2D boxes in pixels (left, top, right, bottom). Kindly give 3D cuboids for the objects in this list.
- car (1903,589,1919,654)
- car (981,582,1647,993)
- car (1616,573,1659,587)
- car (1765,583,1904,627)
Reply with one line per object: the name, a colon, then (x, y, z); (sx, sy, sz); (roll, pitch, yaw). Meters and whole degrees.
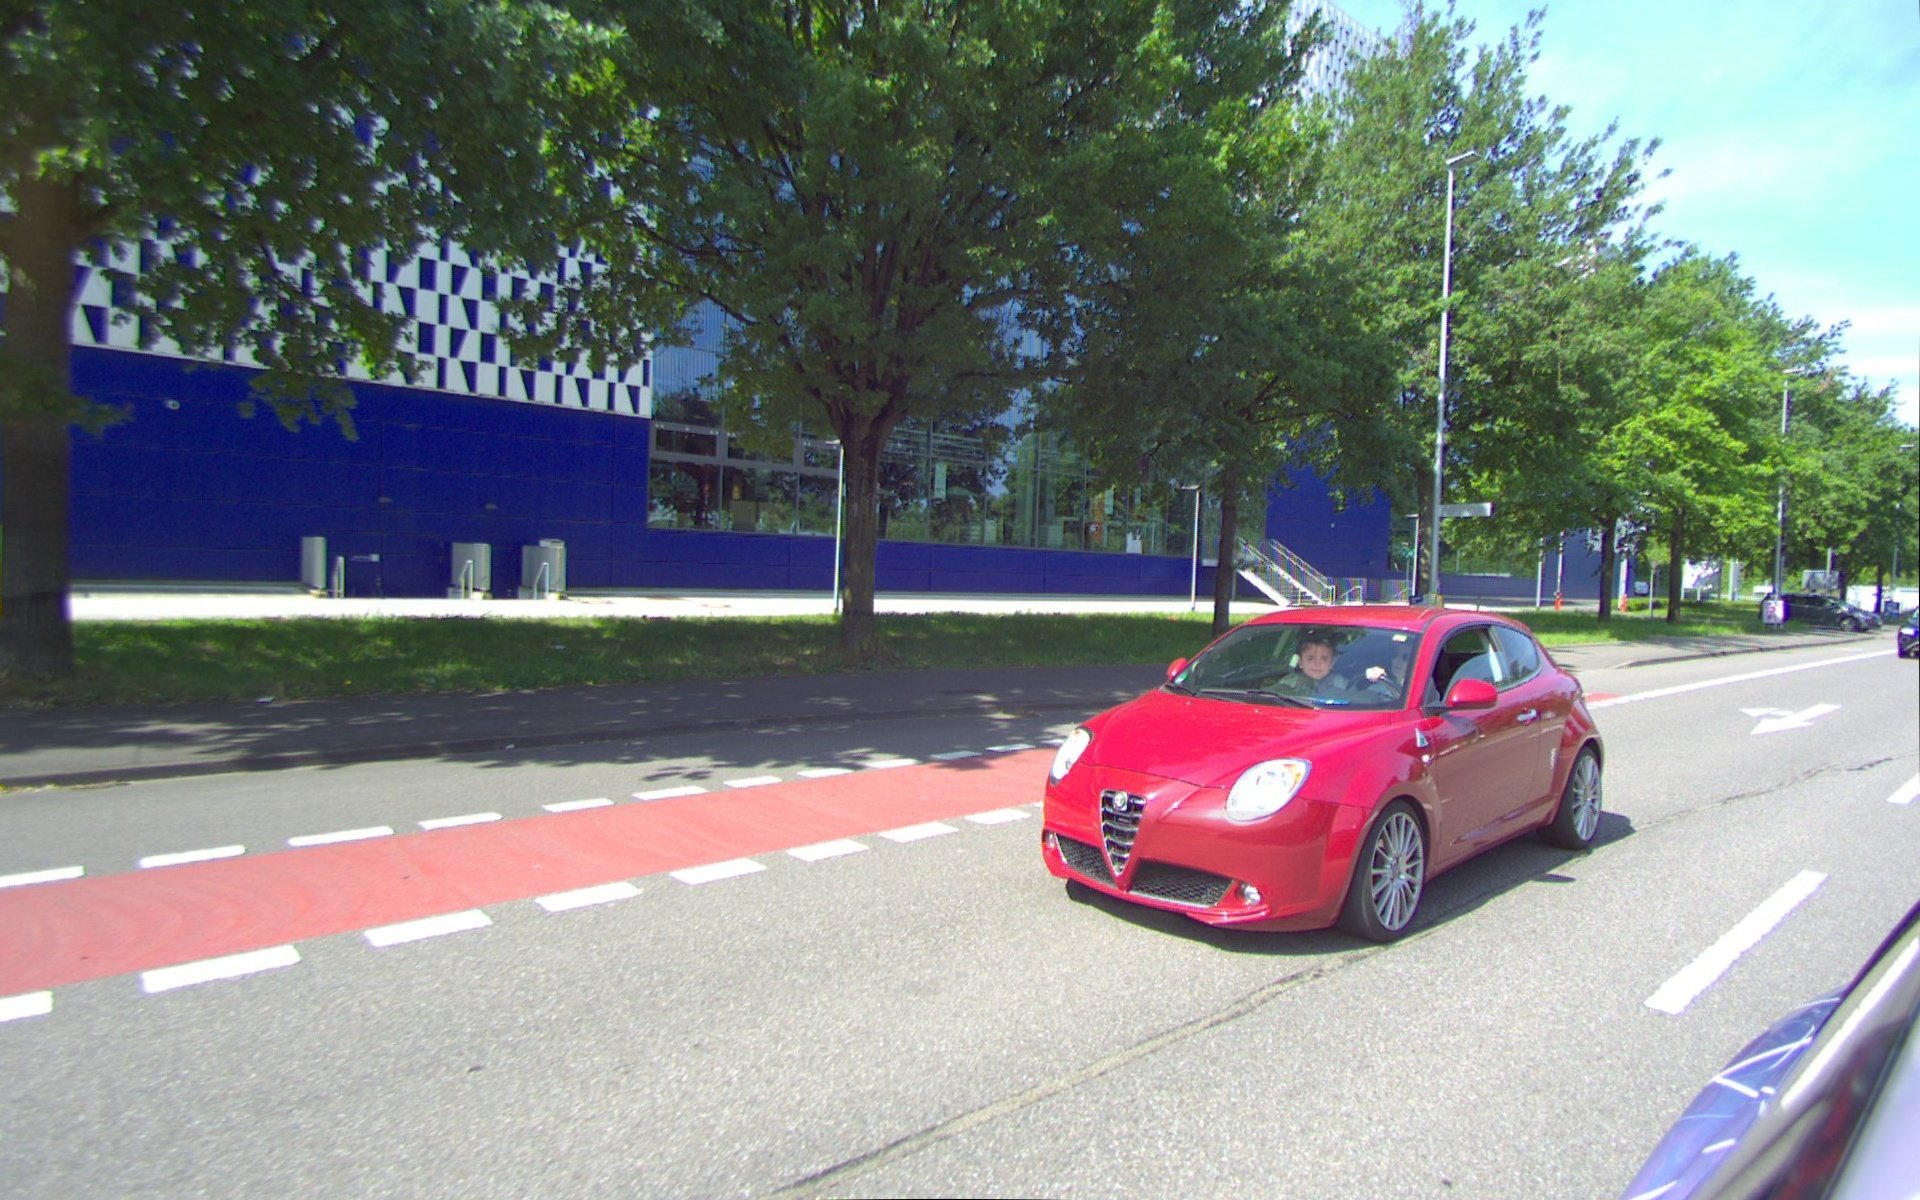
car: (26.847, 0.585, 27.077); (4.038, 1.662, 1.824); (0, 1, -40)
car: (2.166, 0.655, 5.654); (3.909, 1.472, 1.797); (-1, 2, -41)
car: (83.300, -2.457, 124.489); (1.818, 1.659, 4.313); (1, 1, -11)
car: (40.242, 0.187, 46.670); (1.808, 1.714, 4.464); (1, 4, -33)
